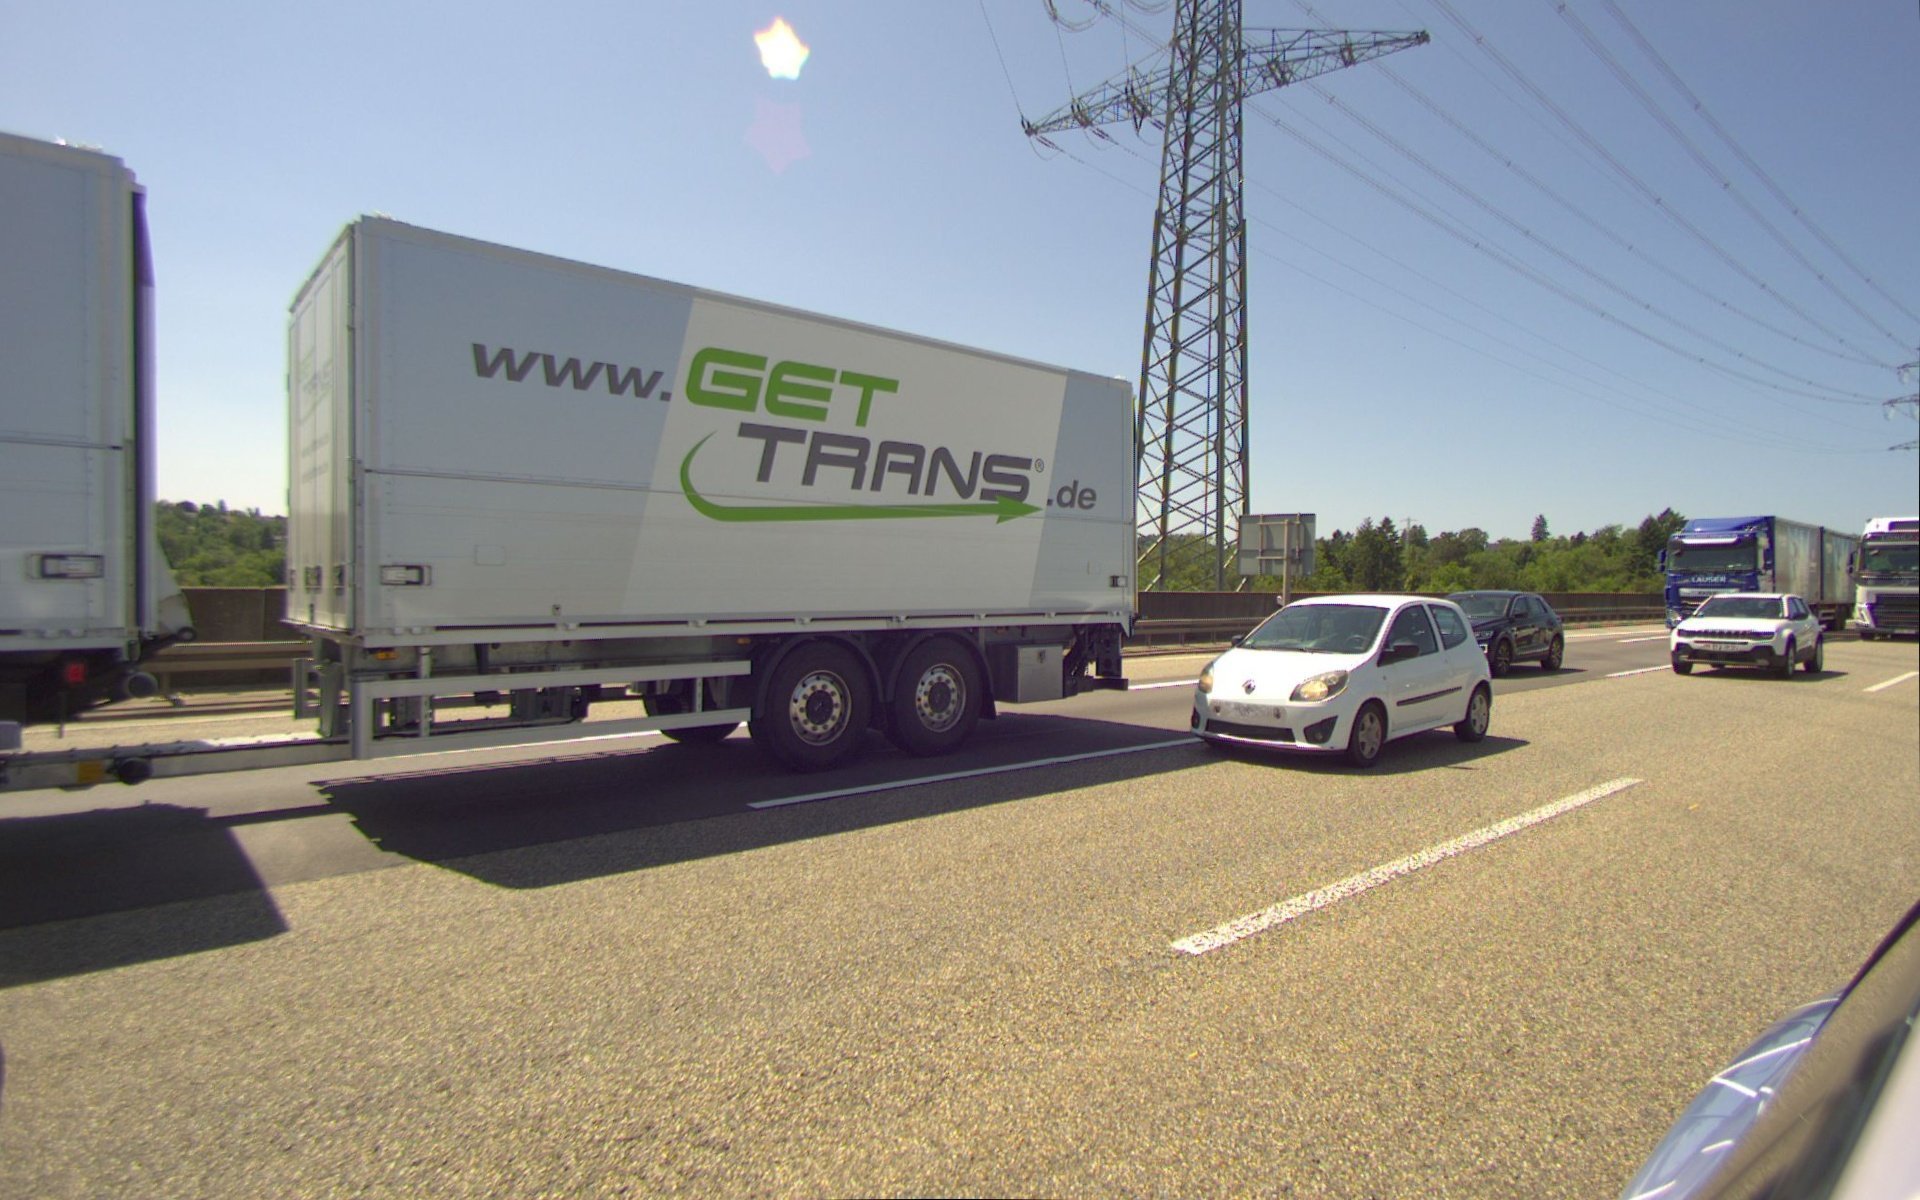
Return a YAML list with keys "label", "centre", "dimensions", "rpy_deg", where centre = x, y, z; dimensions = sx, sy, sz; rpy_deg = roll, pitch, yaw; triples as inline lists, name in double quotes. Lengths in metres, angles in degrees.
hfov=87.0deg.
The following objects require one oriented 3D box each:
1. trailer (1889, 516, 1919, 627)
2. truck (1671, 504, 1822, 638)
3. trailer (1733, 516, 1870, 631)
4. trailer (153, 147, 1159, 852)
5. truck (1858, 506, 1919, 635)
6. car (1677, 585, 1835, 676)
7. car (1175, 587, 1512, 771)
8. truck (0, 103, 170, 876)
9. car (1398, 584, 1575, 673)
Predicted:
- label: "trailer"
  centre: [37.788, -1.066, 38.256]
  dimensions: [9.605, 3.918, 2.895]
  rpy_deg: [-1, 0, -41]
- label: "truck"
  centre: [26.559, -0.896, 34.025]
  dimensions: [7.788, 4.018, 2.515]
  rpy_deg: [0, 0, -41]
- label: "trailer"
  centre: [33.535, -1.024, 40.120]
  dimensions: [10.697, 4.044, 2.541]
  rpy_deg: [-1, 0, -41]
- label: "trailer"
  centre: [-1.902, -0.544, 8.989]
  dimensions: [8.147, 3.640, 2.849]
  rpy_deg: [0, 0, -41]
- label: "truck"
  centre: [31.671, -0.945, 32.903]
  dimensions: [6.624, 3.941, 2.911]
  rpy_deg: [-1, 0, -41]
- label: "car"
  centre: [15.104, 0.499, 19.139]
  dimensions: [3.688, 1.554, 1.720]
  rpy_deg: [0, 1, -41]
- label: "car"
  centre: [3.822, 0.609, 9.838]
  dimensions: [3.566, 1.458, 1.582]
  rpy_deg: [0, 1, -41]
- label: "truck"
  centre: [-8.958, -0.466, 2.782]
  dimensions: [10.582, 3.648, 2.855]
  rpy_deg: [-1, 0, -41]
- label: "car"
  centre: [10.054, 0.474, 19.226]
  dimensions: [3.820, 1.524, 1.708]
  rpy_deg: [0, 1, -41]
